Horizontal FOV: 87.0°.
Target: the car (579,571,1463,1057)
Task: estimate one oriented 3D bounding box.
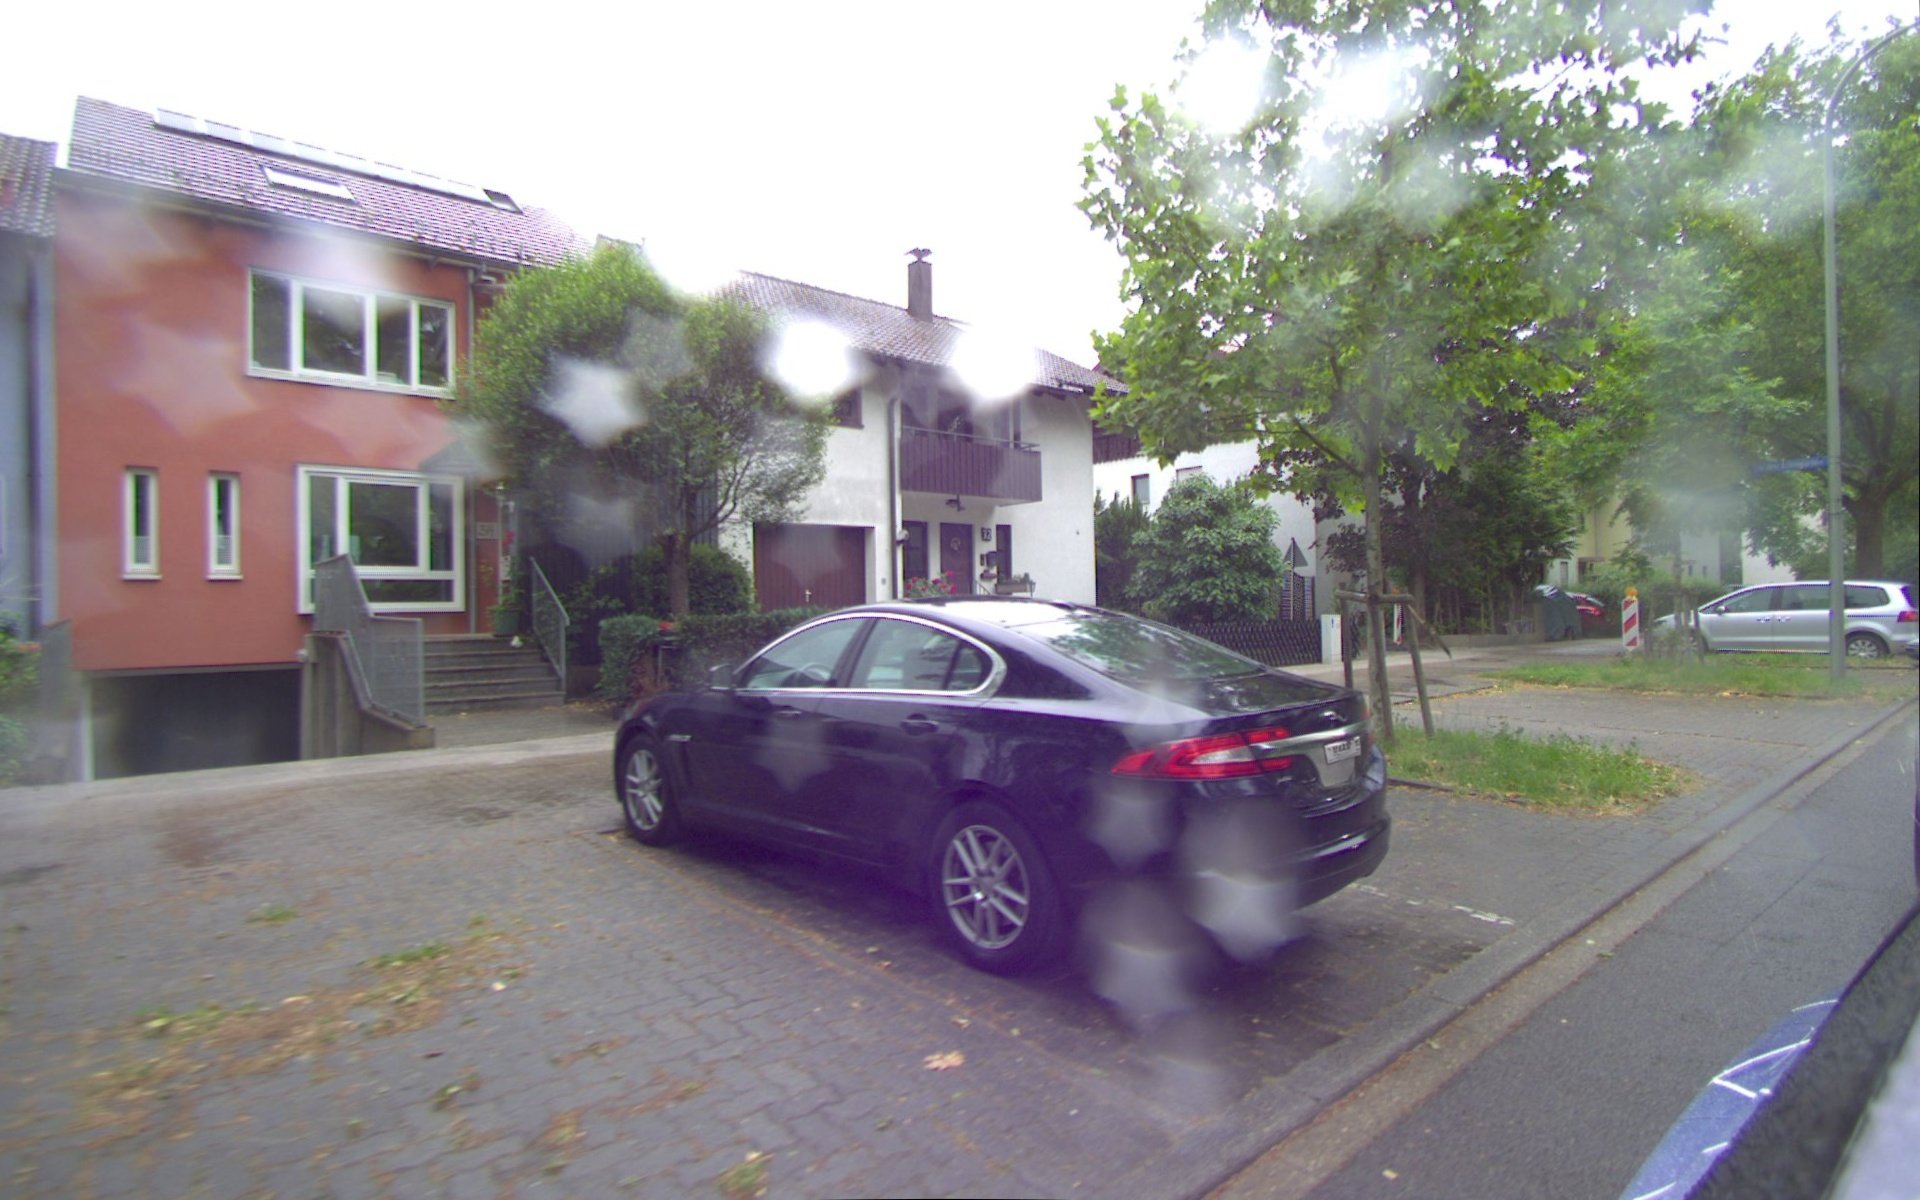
[{"bbox_3d":[-0.120,0.641,5.494,1.906,1.491,4.768,0,0,-45],"label":"car"}]

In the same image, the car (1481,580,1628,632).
[{"bbox_3d":[19.787,0.177,33.813,1.809,1.633,3.853,0,0,-38],"label":"car"}]

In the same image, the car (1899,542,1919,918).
[{"bbox_3d":[6.380,0.549,5.160,4.346,1.638,1.861,-1,0,-41],"label":"car"}]

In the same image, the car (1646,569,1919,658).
[{"bbox_3d":[17.538,0.246,21.413,1.942,1.682,4.694,0,0,-42],"label":"car"}]
